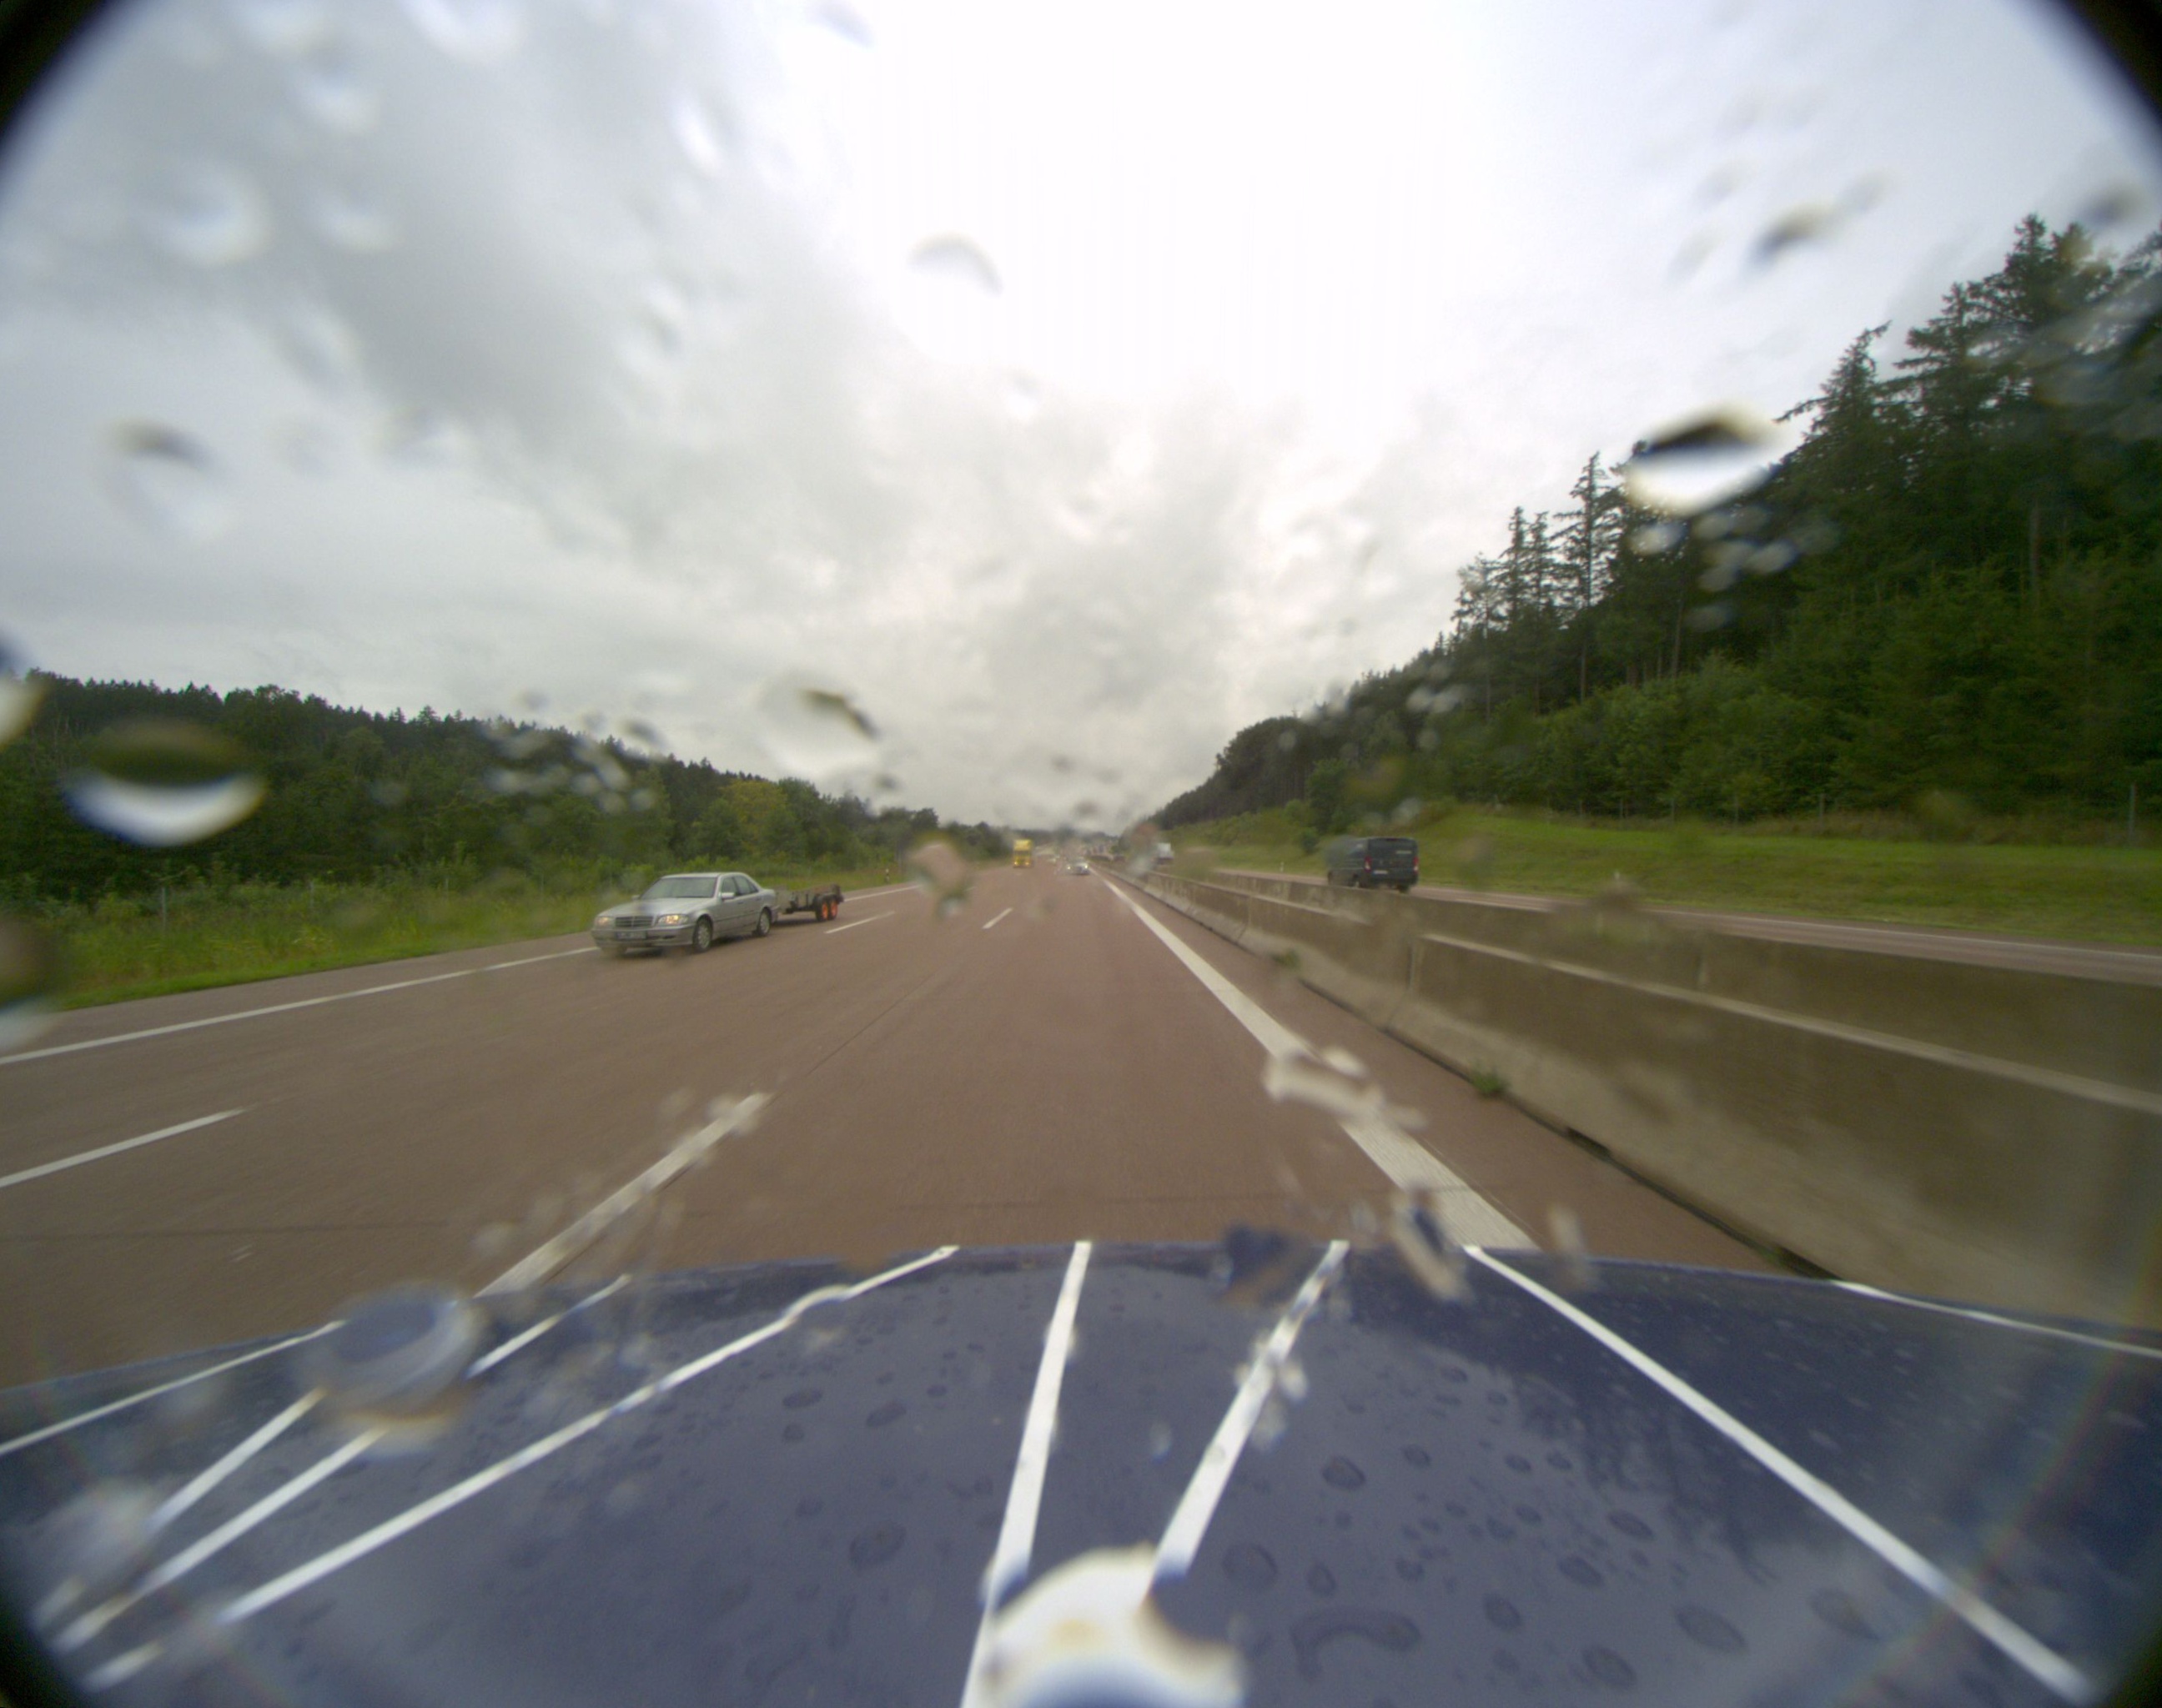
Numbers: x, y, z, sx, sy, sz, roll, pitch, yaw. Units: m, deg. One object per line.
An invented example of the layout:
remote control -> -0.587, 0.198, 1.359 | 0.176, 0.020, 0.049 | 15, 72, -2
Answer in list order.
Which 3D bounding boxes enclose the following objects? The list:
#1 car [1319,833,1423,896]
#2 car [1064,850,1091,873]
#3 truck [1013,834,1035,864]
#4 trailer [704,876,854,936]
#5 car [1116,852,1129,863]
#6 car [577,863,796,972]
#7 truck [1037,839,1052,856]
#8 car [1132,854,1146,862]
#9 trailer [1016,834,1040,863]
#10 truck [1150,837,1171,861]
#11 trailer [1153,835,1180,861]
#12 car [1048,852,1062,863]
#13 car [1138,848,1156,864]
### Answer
car -> 11.672, 0.324, 31.056 | 2.108, 2.266, 5.394 | -2, 2, -1
car -> -0.245, 0.546, 61.330 | 1.998, 1.623, 4.930 | -2, 1, 0
truck -> -8.312, -0.752, 111.627 | 2.610, 4.190, 6.248 | -2, 2, 0
trailer -> -7.615, 1.266, 19.743 | 1.976, 1.159, 4.639 | -2, 0, 0
car -> 7.441, 0.639, 136.273 | 1.823, 1.831, 6.235 | -2, 1, -1
car -> -7.429, 1.078, 15.012 | 1.702, 1.602, 4.975 | -1, 1, 0
truck -> -10.229, -1.818, 213.391 | 3.190, 4.349, 14.700 | -2, 1, 0
car -> 10.320, 0.675, 135.302 | 1.823, 1.361, 5.114 | -1, 0, -1
trailer -> -8.241, -0.944, 120.658 | 2.572, 4.205, 14.076 | -2, 1, 0
truck -> 15.342, -0.906, 146.529 | 2.972, 4.294, 7.648 | 2, -1, -1
trailer -> 15.519, -1.008, 138.436 | 2.941, 4.250, 12.943 | 2, 0, -1
car -> -4.346, 0.534, 126.478 | 1.998, 1.623, 4.930 | -2, 1, 0
car -> 8.265, 0.231, 94.940 | 1.781, 1.846, 5.320 | -2, 1, 1
